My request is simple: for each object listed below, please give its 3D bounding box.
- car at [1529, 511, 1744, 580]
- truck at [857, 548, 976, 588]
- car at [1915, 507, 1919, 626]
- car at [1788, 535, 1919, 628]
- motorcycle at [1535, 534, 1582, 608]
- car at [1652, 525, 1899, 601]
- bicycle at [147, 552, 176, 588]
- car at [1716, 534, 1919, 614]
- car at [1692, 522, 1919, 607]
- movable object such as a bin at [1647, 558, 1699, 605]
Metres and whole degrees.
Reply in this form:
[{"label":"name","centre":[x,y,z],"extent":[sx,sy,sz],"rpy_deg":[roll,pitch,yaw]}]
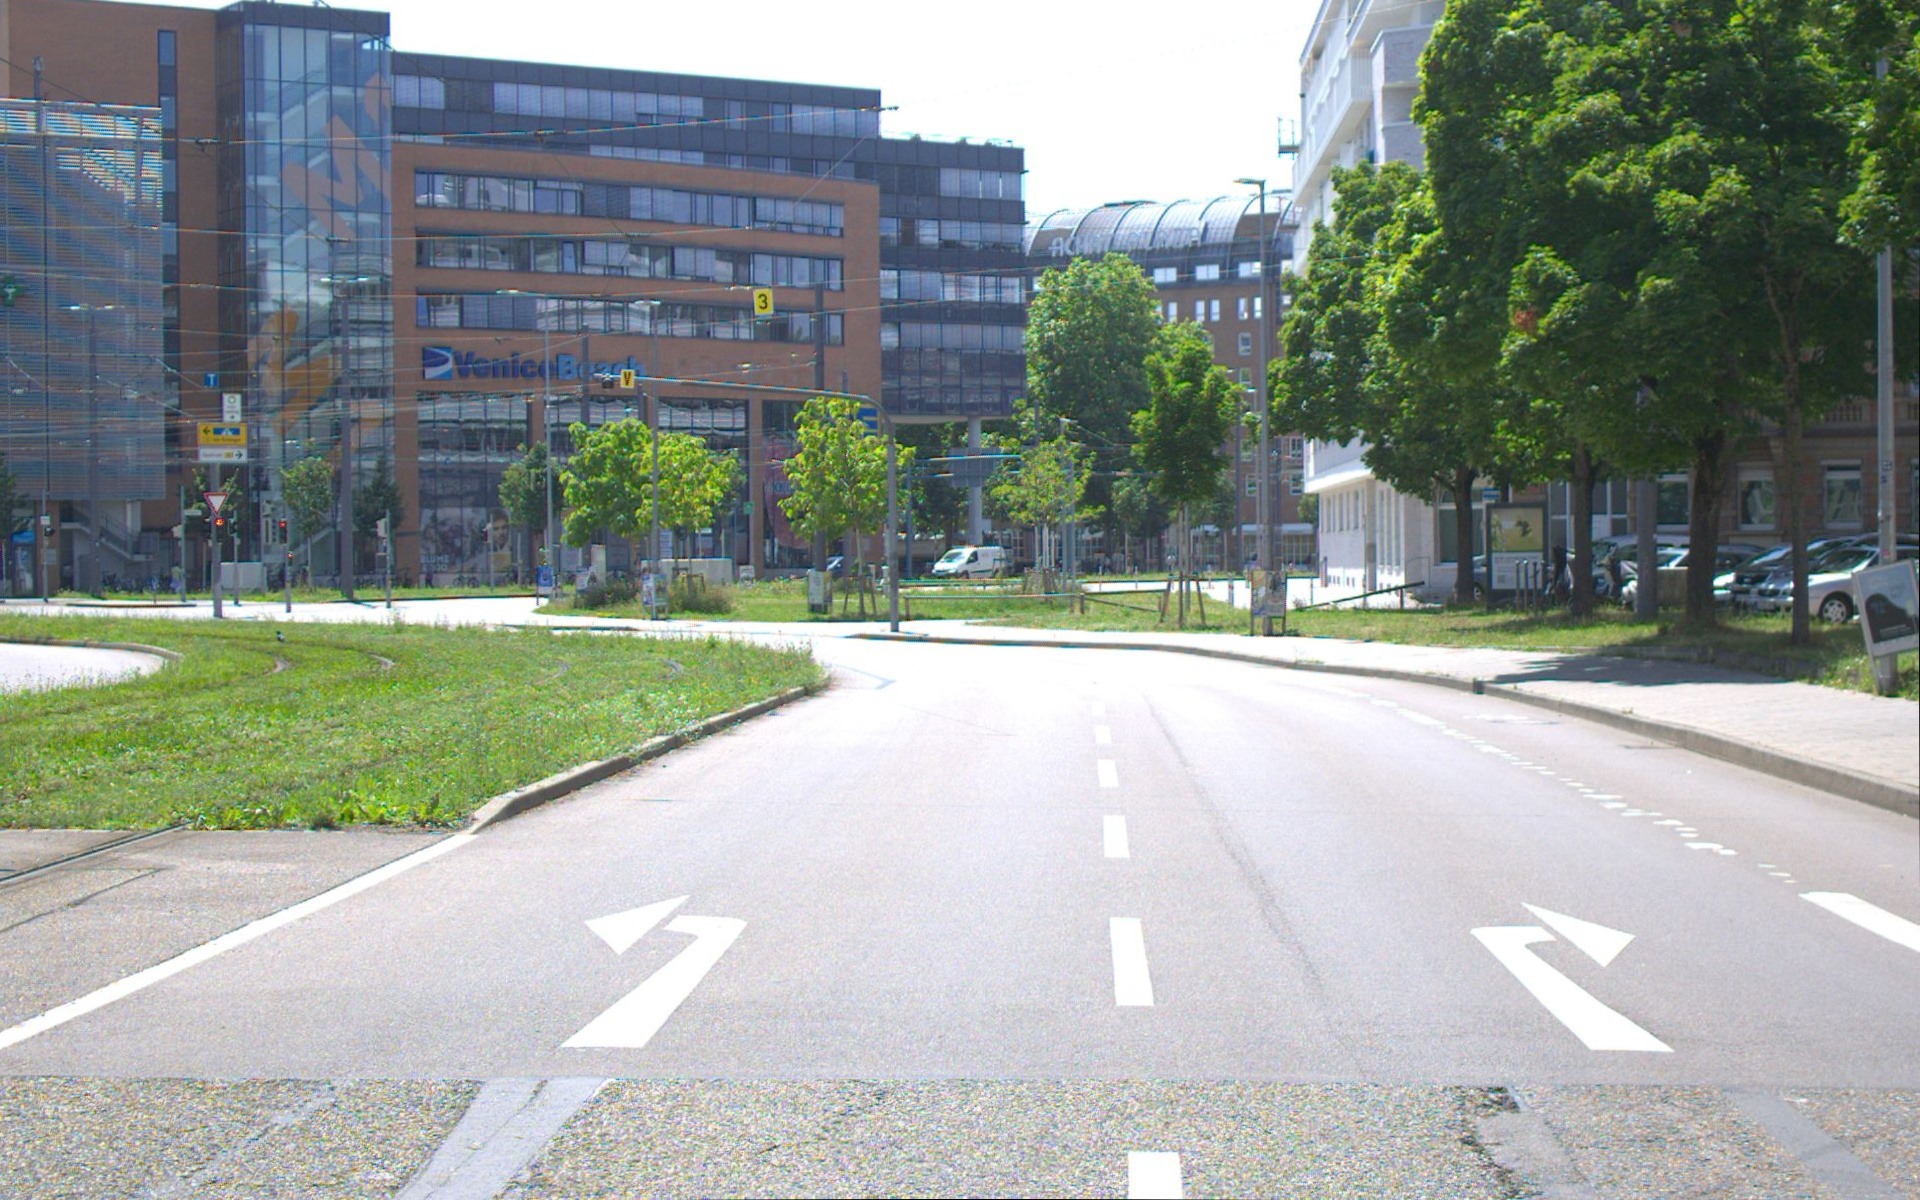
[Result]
[{"label":"car","centre":[16.097,-1.293,81.806],"extent":[4.857,1.595,1.836],"rpy_deg":[0,1,-25]},{"label":"truck","centre":[-3.216,-2.325,250.559],"extent":[9.228,2.799,1.996],"rpy_deg":[1,1,34]},{"label":"car","centre":[15.544,-0.445,47.826],"extent":[3.986,1.656,1.973],"rpy_deg":[0,1,-24]},{"label":"car","centre":[14.706,-0.274,49.984],"extent":[4.770,1.309,2.150],"rpy_deg":[0,1,-19]},{"label":"motorcycle","centre":[11.866,-0.585,68.175],"extent":[0.675,1.408,1.856],"rpy_deg":[-2,1,3]},{"label":"car","centre":[14.998,-0.680,63.219],"extent":[4.333,1.371,1.583],"rpy_deg":[0,1,-24]},{"label":"bicycle","centre":[-38.646,-1.454,166.385],"extent":[0.598,1.725,2.260],"rpy_deg":[0,1,-34]},{"label":"car","centre":[14.937,-0.437,57.625],"extent":[3.986,1.309,1.973],"rpy_deg":[0,1,-19]},{"label":"car","centre":[15.134,-0.626,60.643],"extent":[4.078,1.465,1.798],"rpy_deg":[0,1,-25]},{"label":"movable object such as a bin","centre":[14.326,-0.380,69.089],"extent":[0.986,0.934,0.701],"rpy_deg":[1,1,14]}]
